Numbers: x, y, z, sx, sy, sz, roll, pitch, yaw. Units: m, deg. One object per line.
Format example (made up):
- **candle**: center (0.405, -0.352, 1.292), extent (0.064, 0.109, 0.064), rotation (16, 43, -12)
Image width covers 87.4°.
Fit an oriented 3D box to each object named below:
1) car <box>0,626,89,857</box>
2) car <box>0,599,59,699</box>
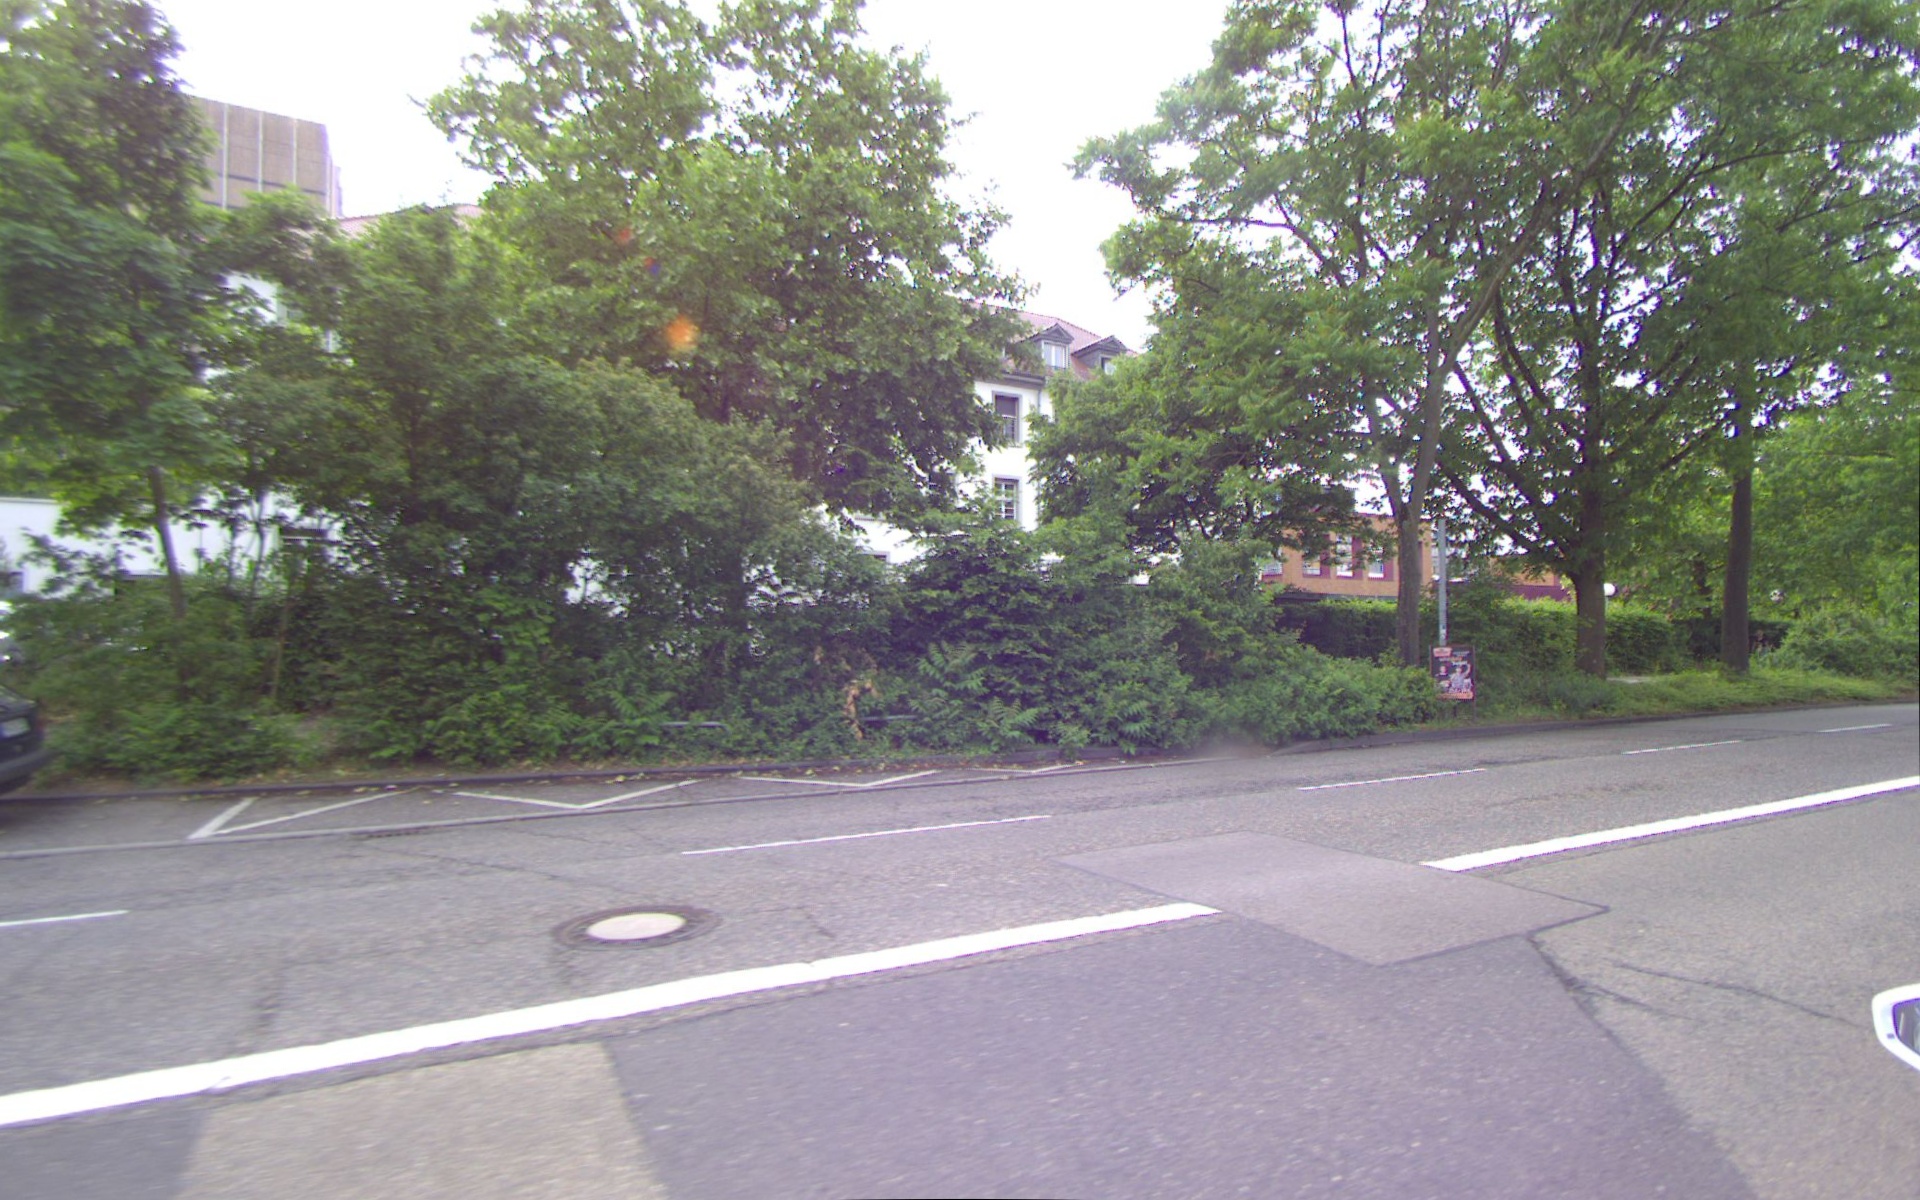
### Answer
- **car**: center (-9.317, 1.048, 7.441), extent (3.952, 1.712, 1.985), rotation (1, -1, -30)
- **car**: center (-17.176, 0.806, 17.410), extent (1.633, 1.623, 3.568), rotation (1, -1, -31)
